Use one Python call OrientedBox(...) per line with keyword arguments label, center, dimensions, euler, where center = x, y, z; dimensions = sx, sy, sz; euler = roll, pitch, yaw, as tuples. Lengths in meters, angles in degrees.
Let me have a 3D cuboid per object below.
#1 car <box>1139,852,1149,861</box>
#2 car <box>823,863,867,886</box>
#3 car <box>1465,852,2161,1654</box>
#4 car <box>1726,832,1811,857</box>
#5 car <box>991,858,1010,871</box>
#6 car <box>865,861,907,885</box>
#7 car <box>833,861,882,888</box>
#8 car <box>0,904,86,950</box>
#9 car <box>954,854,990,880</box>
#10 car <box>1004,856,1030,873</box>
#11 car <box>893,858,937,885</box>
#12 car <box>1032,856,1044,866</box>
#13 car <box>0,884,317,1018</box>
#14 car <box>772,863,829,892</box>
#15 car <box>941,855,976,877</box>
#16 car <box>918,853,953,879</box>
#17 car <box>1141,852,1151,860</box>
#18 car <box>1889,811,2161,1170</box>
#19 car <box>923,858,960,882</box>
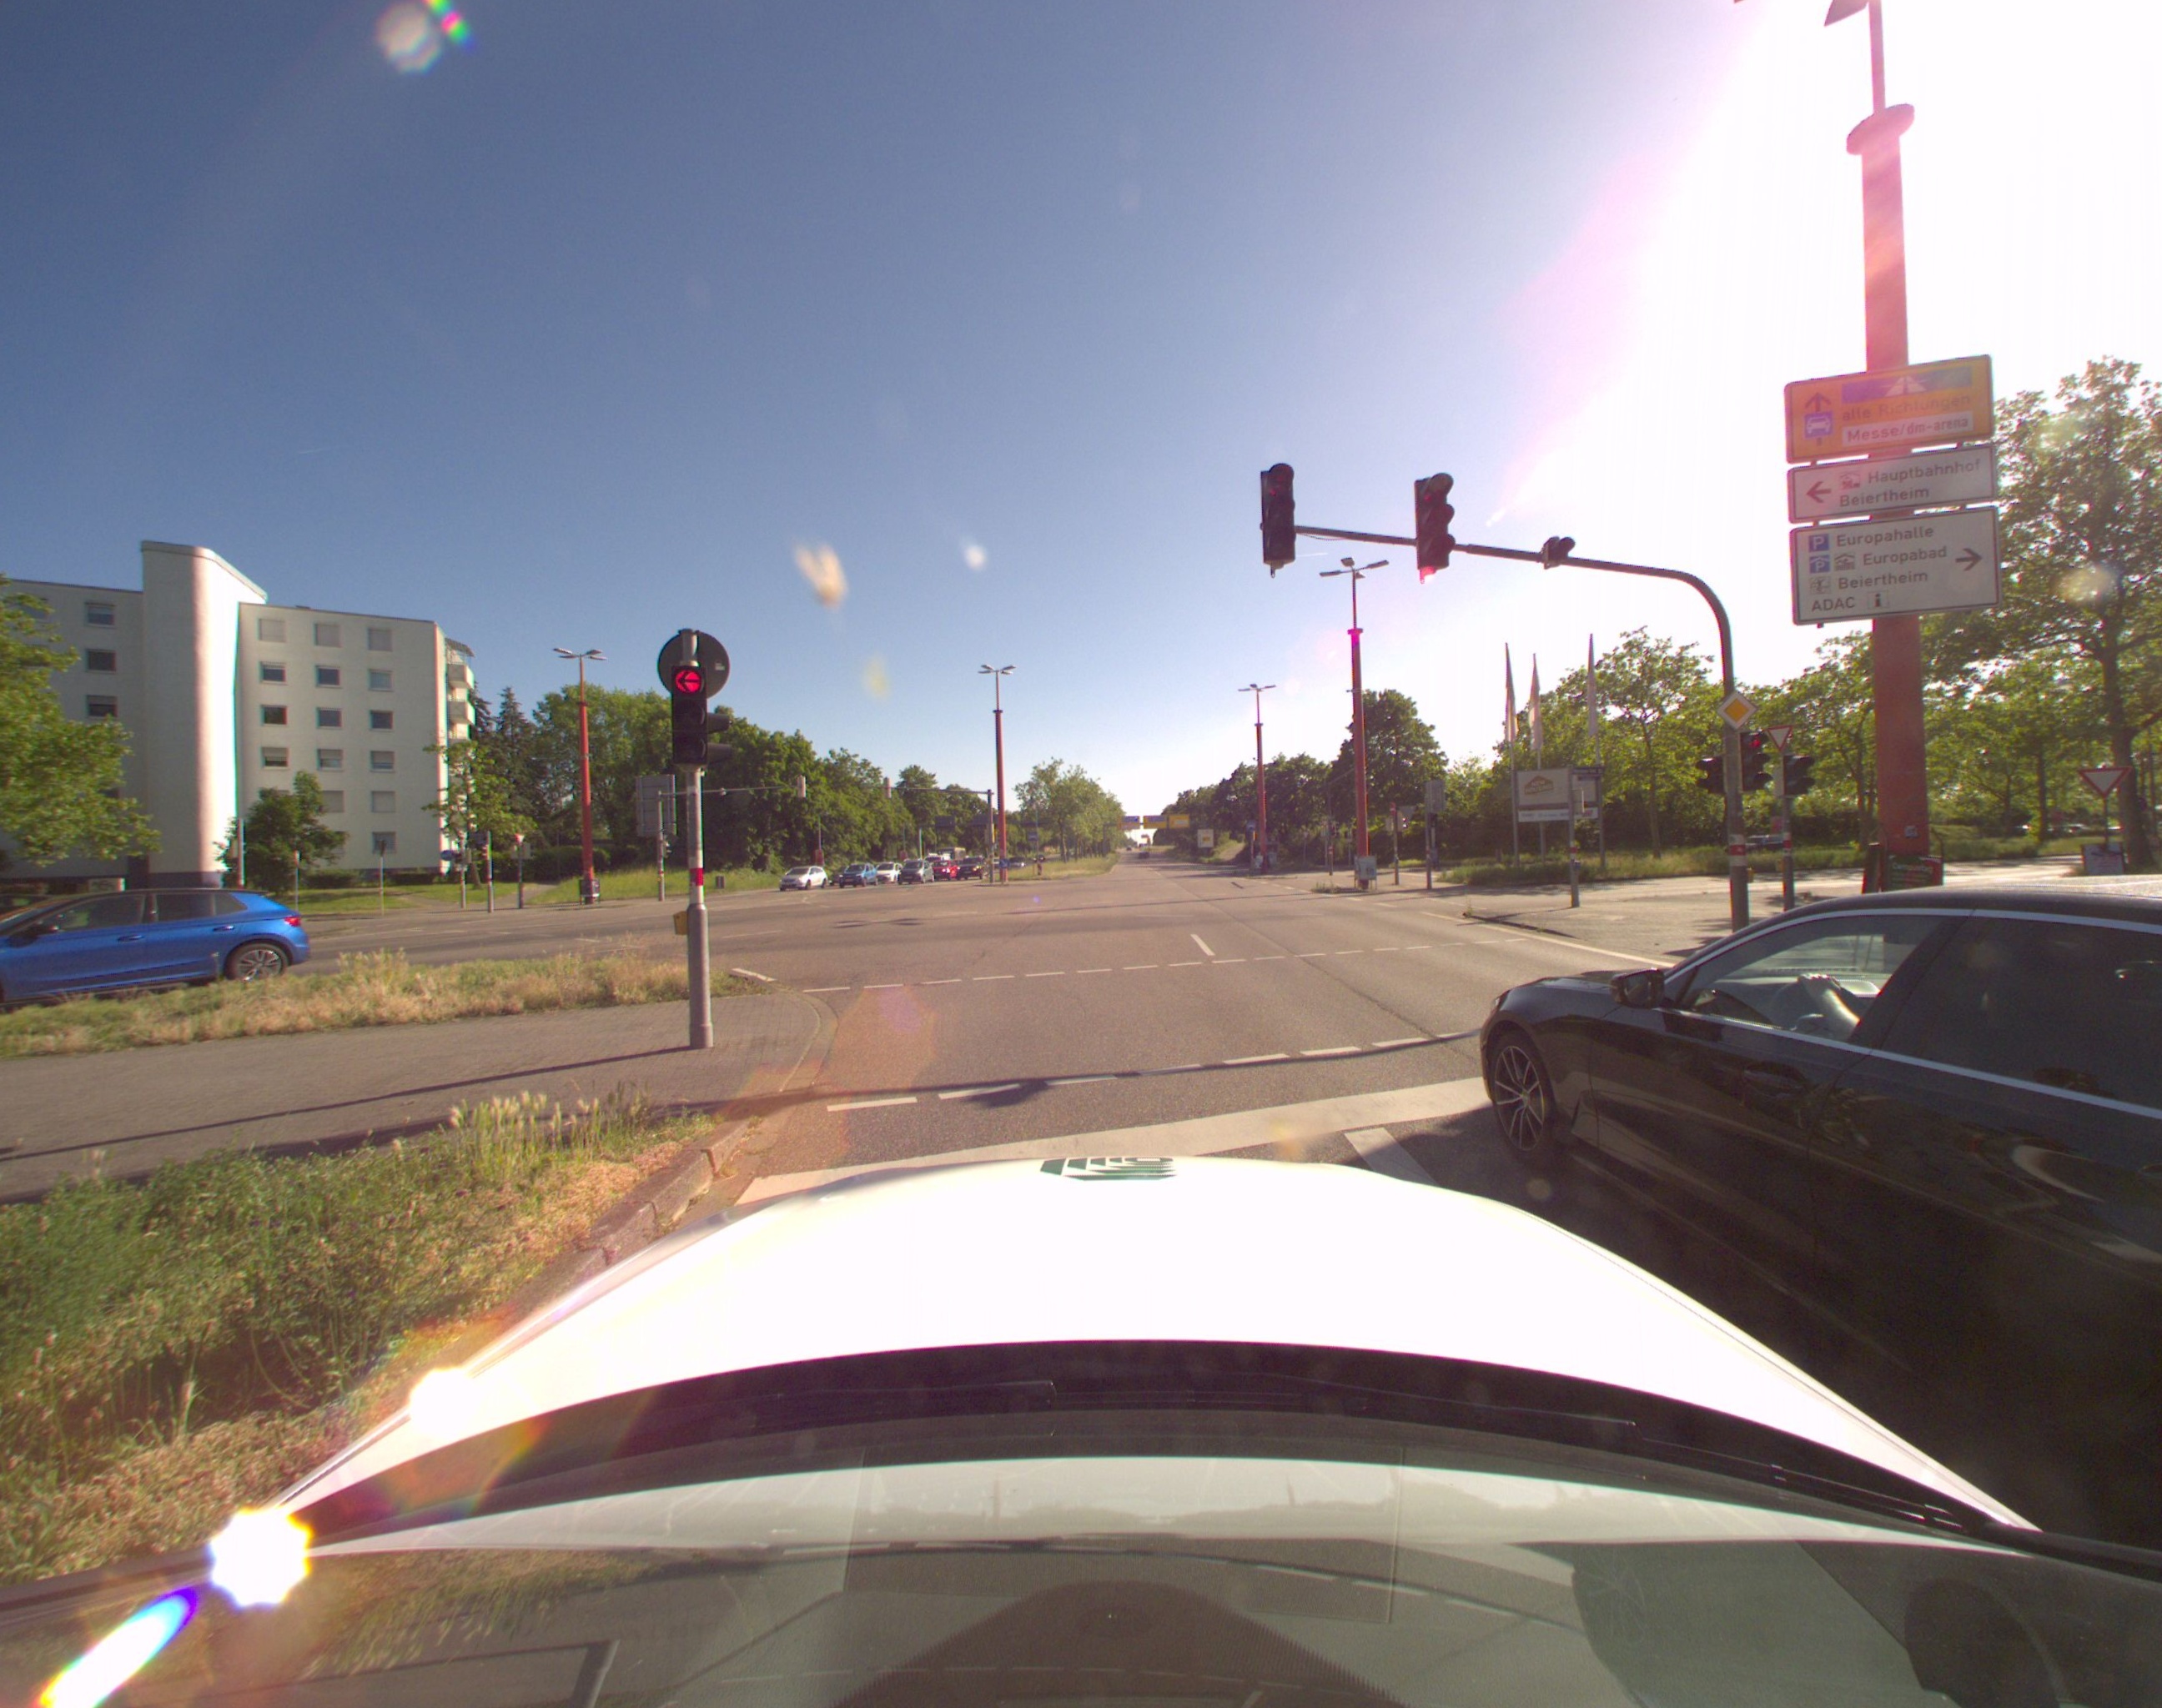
OrientedBox(label="car", center=(12.809, 0.515, 165.597), dimensions=(1.986, 1.733, 4.001), euler=(0, -1, 2))
OrientedBox(label="car", center=(-17.545, 1.509, 60.691), dimensions=(1.877, 1.513, 4.003), euler=(-3, 0, 3))
OrientedBox(label="car", center=(2.874, 0.718, 2.328), dimensions=(1.756, 1.441, 4.299), euler=(0, -1, 4))
OrientedBox(label="car", center=(47.906, -0.645, 56.821), dimensions=(4.258, 1.635, 1.774), euler=(-1, -1, 9))
OrientedBox(label="car", center=(-10.605, 1.399, 107.195), dimensions=(1.878, 1.543, 4.002), euler=(-3, 0, 2))
OrientedBox(label="car", center=(-13.762, 1.293, 57.774), dimensions=(1.895, 1.555, 4.000), euler=(-3, 0, 0))
OrientedBox(label="car", center=(-14.126, 1.291, 51.627), dimensions=(1.794, 1.515, 3.861), euler=(-3, 0, 2))
OrientedBox(label="car", center=(-38.869, 2.674, 29.188), dimensions=(1.815, 1.503, 3.974), euler=(-3, -1, 42))
OrientedBox(label="car", center=(-7.516, 0.863, 56.713), dimensions=(1.787, 1.626, 4.144), euler=(-3, 0, 1))
OrientedBox(label="car", center=(-6.060, 0.970, 77.572), dimensions=(1.878, 1.543, 4.002), euler=(-3, 0, 2))
OrientedBox(label="car", center=(-10.684, 1.084, 52.707), dimensions=(1.867, 1.550, 4.029), euler=(-3, 0, 2))
OrientedBox(label="car", center=(-8.217, 1.269, 156.363), dimensions=(1.830, 1.837, 3.962), euler=(-2, 0, 2))
OrientedBox(label="car", center=(-12.866, 1.201, 10.597), dimensions=(1.559, 1.420, 3.932), euler=(-2, 0, 25))
OrientedBox(label="car", center=(-17.632, 1.429, 51.428), dimensions=(1.869, 1.652, 4.222), euler=(-3, -1, 3))
OrientedBox(label="car", center=(-9.734, 0.940, 65.032), dimensions=(1.893, 1.630, 4.003), euler=(-1, 0, 3))
OrientedBox(label="car", center=(-12.709, 1.007, 71.313), dimensions=(1.954, 2.155, 5.083), euler=(-2, 0, 1))
OrientedBox(label="car", center=(14.397, 0.485, 180.260), dimensions=(1.986, 1.733, 4.001), euler=(0, -1, 2))
OrientedBox(label="car", center=(5.664, 0.599, 2.968), dimensions=(1.709, 1.608, 3.849), euler=(0, -1, 2))
OrientedBox(label="car", center=(-10.055, 1.130, 59.035), dimensions=(1.869, 1.552, 4.000), euler=(-5, 0, 0))
